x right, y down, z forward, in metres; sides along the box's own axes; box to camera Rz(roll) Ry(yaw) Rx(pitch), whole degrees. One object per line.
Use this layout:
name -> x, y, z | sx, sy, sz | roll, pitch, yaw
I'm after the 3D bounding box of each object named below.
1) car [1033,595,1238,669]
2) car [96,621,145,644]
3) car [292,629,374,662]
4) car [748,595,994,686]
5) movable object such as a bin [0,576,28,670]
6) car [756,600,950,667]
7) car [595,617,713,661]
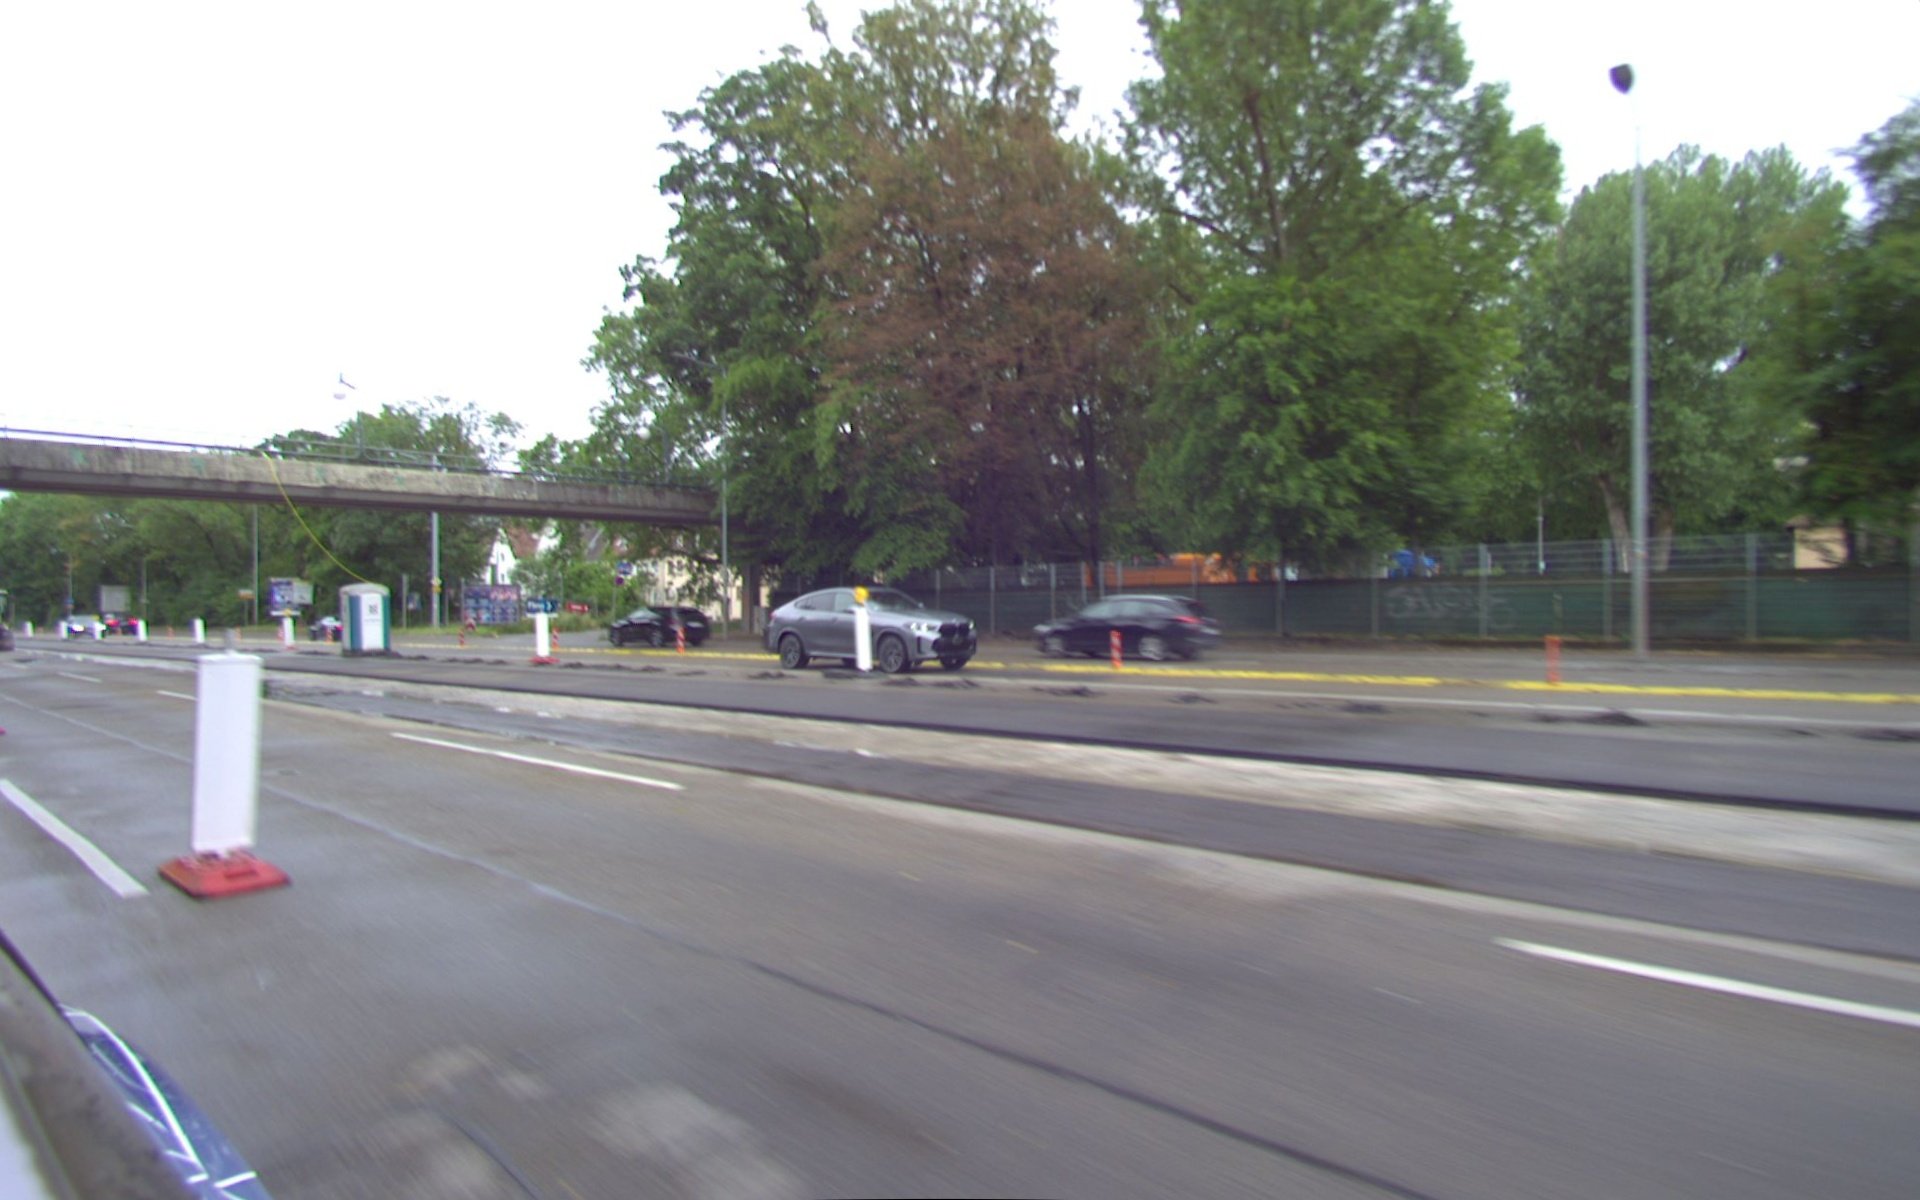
car -> 4.019, 0.714, 23.576 | 4.302, 1.529, 1.973 | -2, 0, 41
car -> -68.299, 2.639, 82.307 | 5.052, 1.752, 2.193 | -2, 0, 40
car -> -30.765, 2.210, 49.624 | 4.880, 1.470, 1.973 | -2, 0, 40
car -> -1.929, 0.779, 20.776 | 5.053, 1.625, 2.055 | -2, 0, 40
movable object such as a bin -> -50.819, 1.206, 51.751 | 10.064, 4.555, 3.481 | -2, 0, 41
car -> -2.851, 0.873, 26.083 | 5.087, 1.524, 2.056 | -2, -1, 41
car -> -10.872, 1.334, 35.777 | 4.566, 1.358, 1.972 | 0, 1, 43
